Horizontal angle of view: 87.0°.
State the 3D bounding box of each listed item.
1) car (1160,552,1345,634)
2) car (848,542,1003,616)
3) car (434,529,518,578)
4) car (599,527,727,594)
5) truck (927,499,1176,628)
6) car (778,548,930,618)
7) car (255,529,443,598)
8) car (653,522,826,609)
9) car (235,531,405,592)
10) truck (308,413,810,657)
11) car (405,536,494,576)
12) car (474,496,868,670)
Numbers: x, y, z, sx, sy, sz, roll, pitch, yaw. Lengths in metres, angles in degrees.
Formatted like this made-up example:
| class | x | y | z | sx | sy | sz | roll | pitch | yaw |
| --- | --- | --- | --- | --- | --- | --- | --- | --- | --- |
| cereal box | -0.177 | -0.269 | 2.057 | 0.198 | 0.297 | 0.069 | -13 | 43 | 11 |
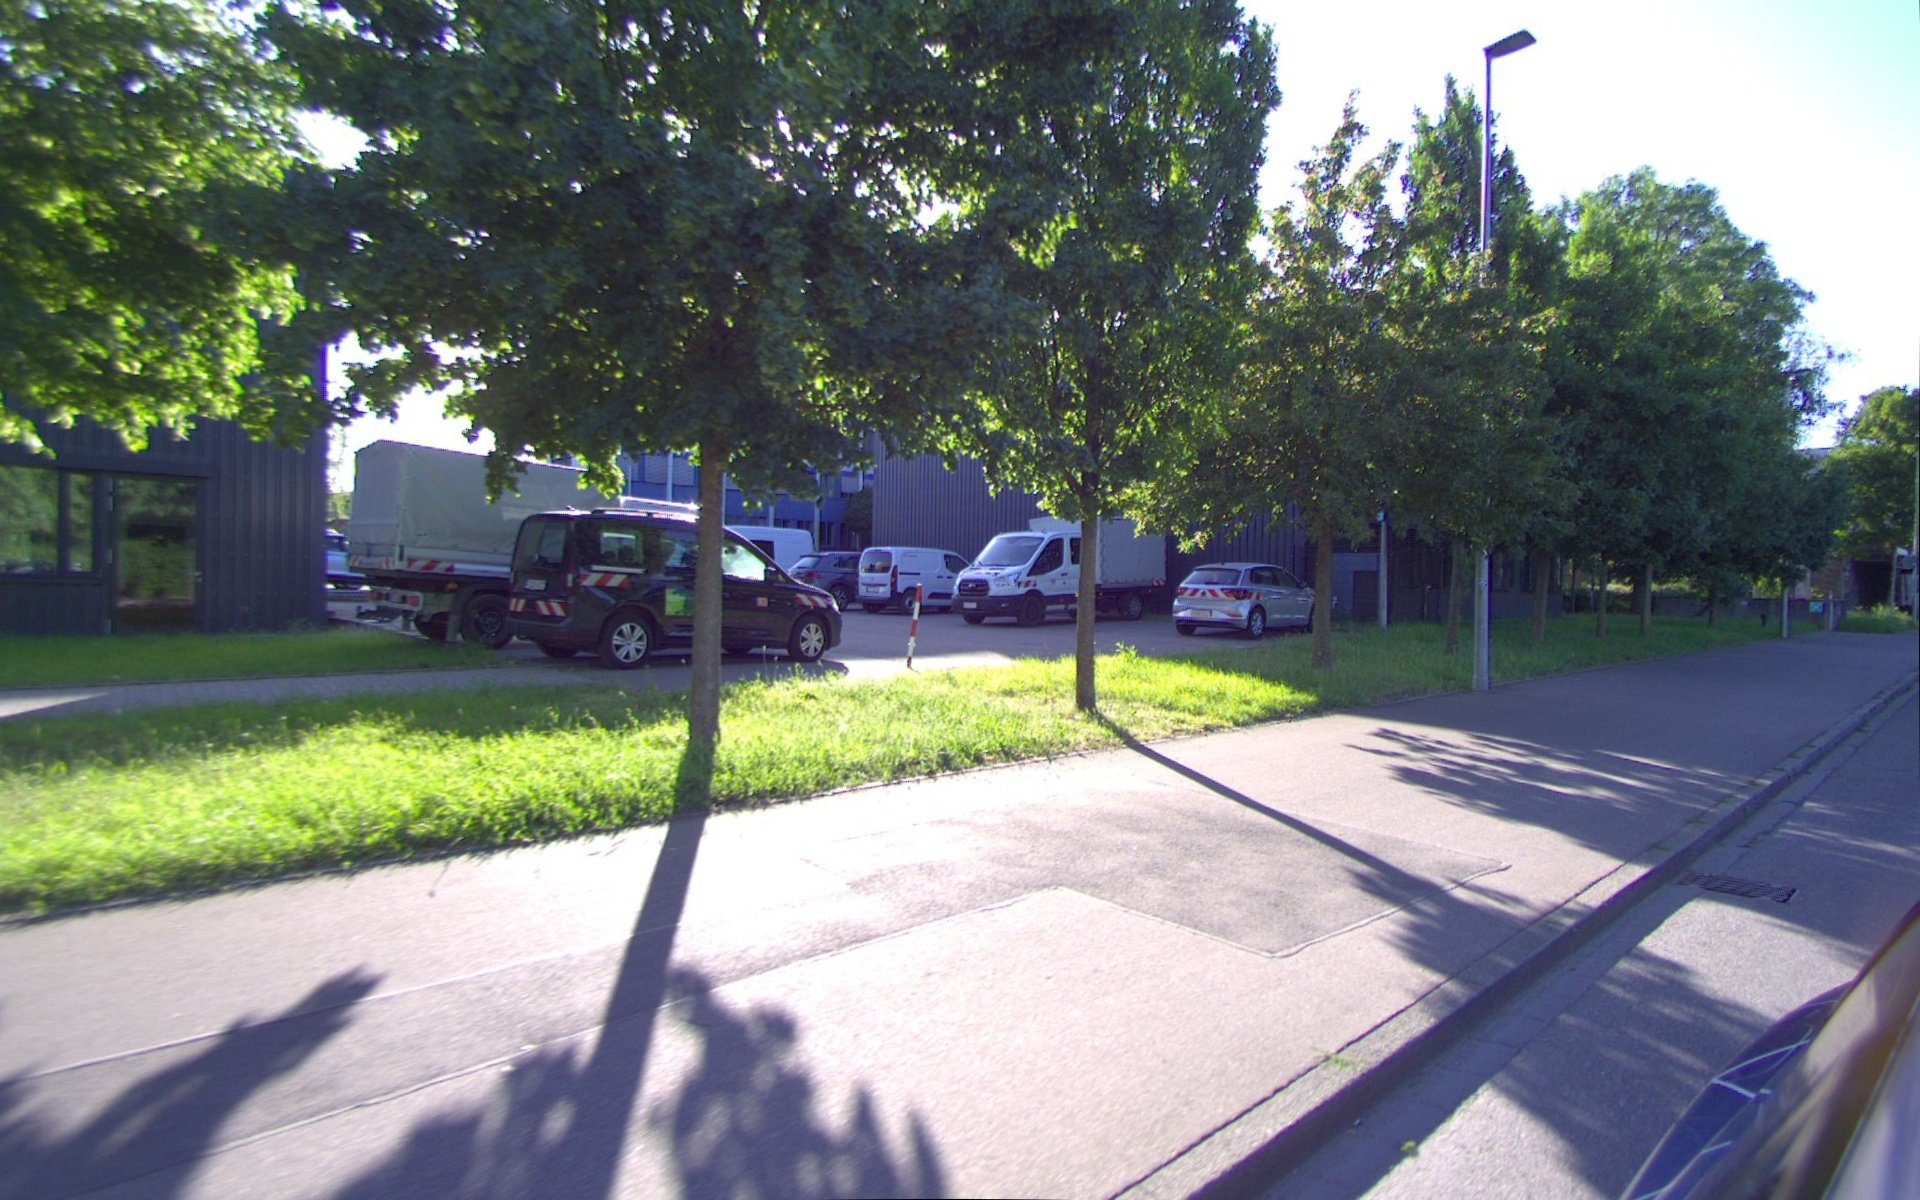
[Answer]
| class | x | y | z | sx | sy | sz | roll | pitch | yaw |
| --- | --- | --- | --- | --- | --- | --- | --- | --- | --- |
| car | 6.045 | -0.158 | 20.648 | 1.835 | 1.485 | 4.210 | -2 | 0 | 45 |
| car | -0.911 | -0.615 | 28.203 | 1.836 | 1.896 | 4.210 | 3 | 4 | 45 |
| car | -20.680 | -1.944 | 43.187 | 3.981 | 1.846 | 1.763 | -2 | 0 | 40 |
| car | -10.590 | -1.388 | 36.237 | 3.933 | 2.216 | 1.902 | -2 | 0 | -43 |
| truck | 2.354 | -0.825 | 24.309 | 6.294 | 2.711 | 2.283 | -2 | 0 | -43 |
| car | -3.046 | -0.544 | 29.529 | 1.836 | 1.865 | 4.210 | 3 | 4 | 45 |
| car | -17.436 | -1.059 | 29.021 | 1.836 | 1.833 | 4.341 | 3 | 4 | 45 |
| car | -7.570 | -1.218 | 35.274 | 1.836 | 2.782 | 5.849 | 3 | 3 | 44 |
| car | -20.538 | -1.247 | 32.576 | 1.836 | 1.833 | 4.341 | 3 | 4 | 45 |
| truck | -5.608 | -0.767 | 15.170 | 2.357 | 2.874 | 6.646 | -2 | -1 | 42 |
| car | -27.892 | -2.384 | 55.310 | 3.932 | 1.985 | 1.996 | -2 | 0 | -42 |
| car | -3.514 | -0.208 | 13.048 | 1.834 | 1.837 | 4.596 | -2 | 0 | 42 |
